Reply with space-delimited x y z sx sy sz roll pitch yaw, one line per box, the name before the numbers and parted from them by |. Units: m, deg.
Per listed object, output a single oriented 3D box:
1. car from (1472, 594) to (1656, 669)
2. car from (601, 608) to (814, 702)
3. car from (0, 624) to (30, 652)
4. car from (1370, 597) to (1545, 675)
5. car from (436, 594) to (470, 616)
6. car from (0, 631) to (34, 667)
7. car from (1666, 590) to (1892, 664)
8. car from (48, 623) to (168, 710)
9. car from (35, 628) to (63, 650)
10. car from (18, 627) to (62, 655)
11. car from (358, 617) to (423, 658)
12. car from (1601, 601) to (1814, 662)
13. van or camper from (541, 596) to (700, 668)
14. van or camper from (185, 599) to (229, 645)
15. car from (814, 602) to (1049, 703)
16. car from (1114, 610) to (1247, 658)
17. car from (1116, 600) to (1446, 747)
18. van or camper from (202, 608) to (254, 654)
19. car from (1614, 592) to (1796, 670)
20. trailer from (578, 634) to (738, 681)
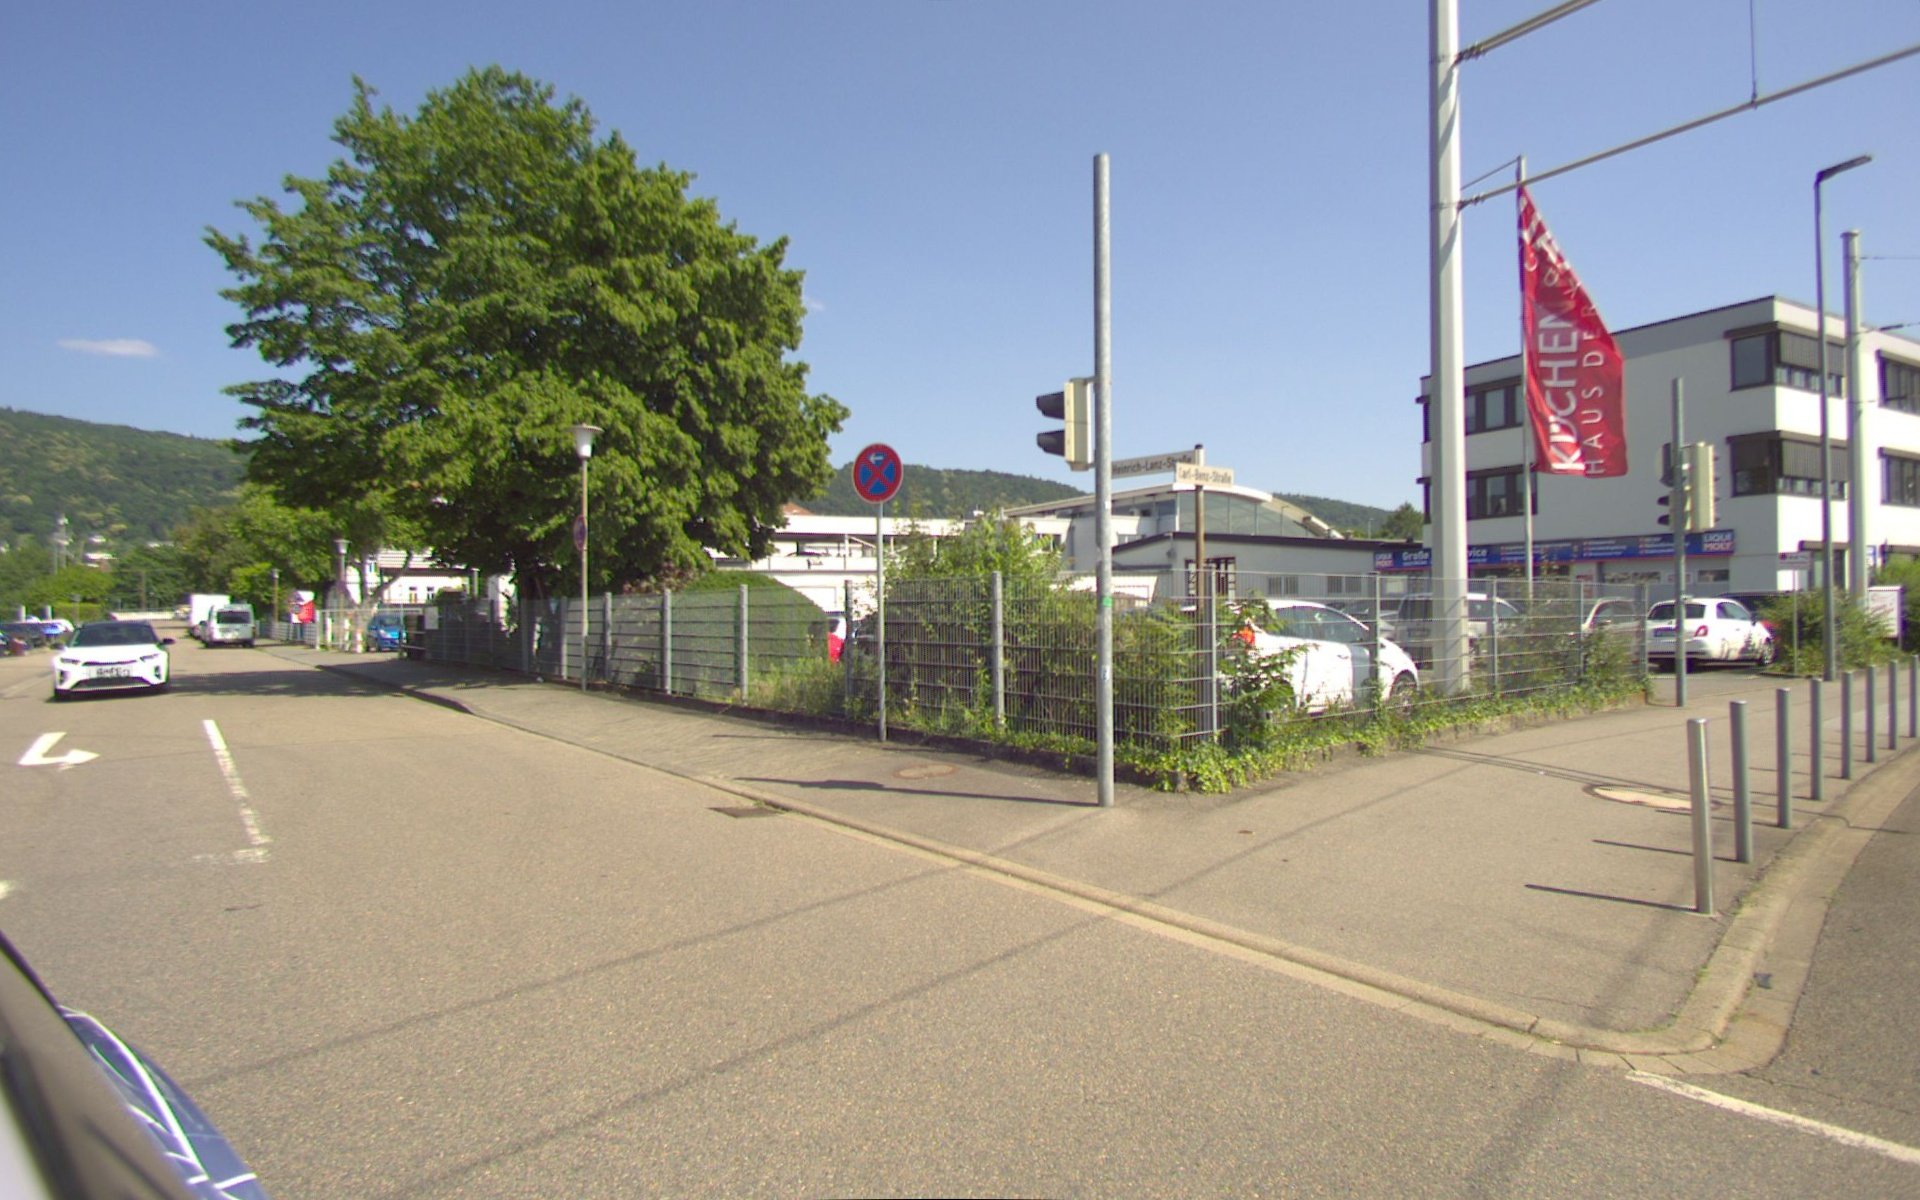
car | 13.768 0.684 23.072 3.867 1.580 1.863 0 -1 -28
car | -4.425 0.908 17.881 3.334 1.496 1.521 0 -1 -37
car | -46.319 1.818 48.123 2.930 1.350 1.456 0 -1 -38
car | 12.509 0.856 25.432 3.931 1.798 2.006 0 -1 -28
car | -35.479 0.373 70.928 1.680 1.469 3.536 0 -1 -19
car | -39.425 2.015 41.959 1.430 1.389 3.191 0 -1 -41
car | 20.562 0.663 25.566 1.966 1.719 4.011 0 -1 -34
car | -17.226 1.266 20.610 1.710 1.541 4.117 0 -1 -38
car | -65.354 2.777 72.628 1.431 1.389 3.191 -3 1 -41
car | -52.385 2.316 57.612 3.185 1.507 1.434 -1 1 41
car | -22.825 1.479 40.490 1.620 1.469 3.531 -3 1 -40
car | 18.283 0.726 24.919 1.718 1.381 3.847 0 -1 -33
van or camper | -10.212 0.899 30.559 4.128 1.877 1.778 -3 1 -37
van or camper | -58.688 1.693 78.855 2.487 3.396 5.602 0 -1 -39
car | -0.430 0.825 17.532 3.777 1.553 1.859 0 -1 -42
car | 7.764 1.171 35.542 4.349 1.569 1.998 0 -1 -30
car | 3.807 0.742 11.754 3.890 1.444 1.717 1 -1 -37
van or camper | -39.759 1.645 54.951 1.997 2.395 4.694 1 -1 -39
car | 16.044 0.629 21.781 3.770 1.553 1.747 0 -1 -29
trailer | -7.030 1.303 23.660 3.239 0.946 1.616 0 -1 -37
